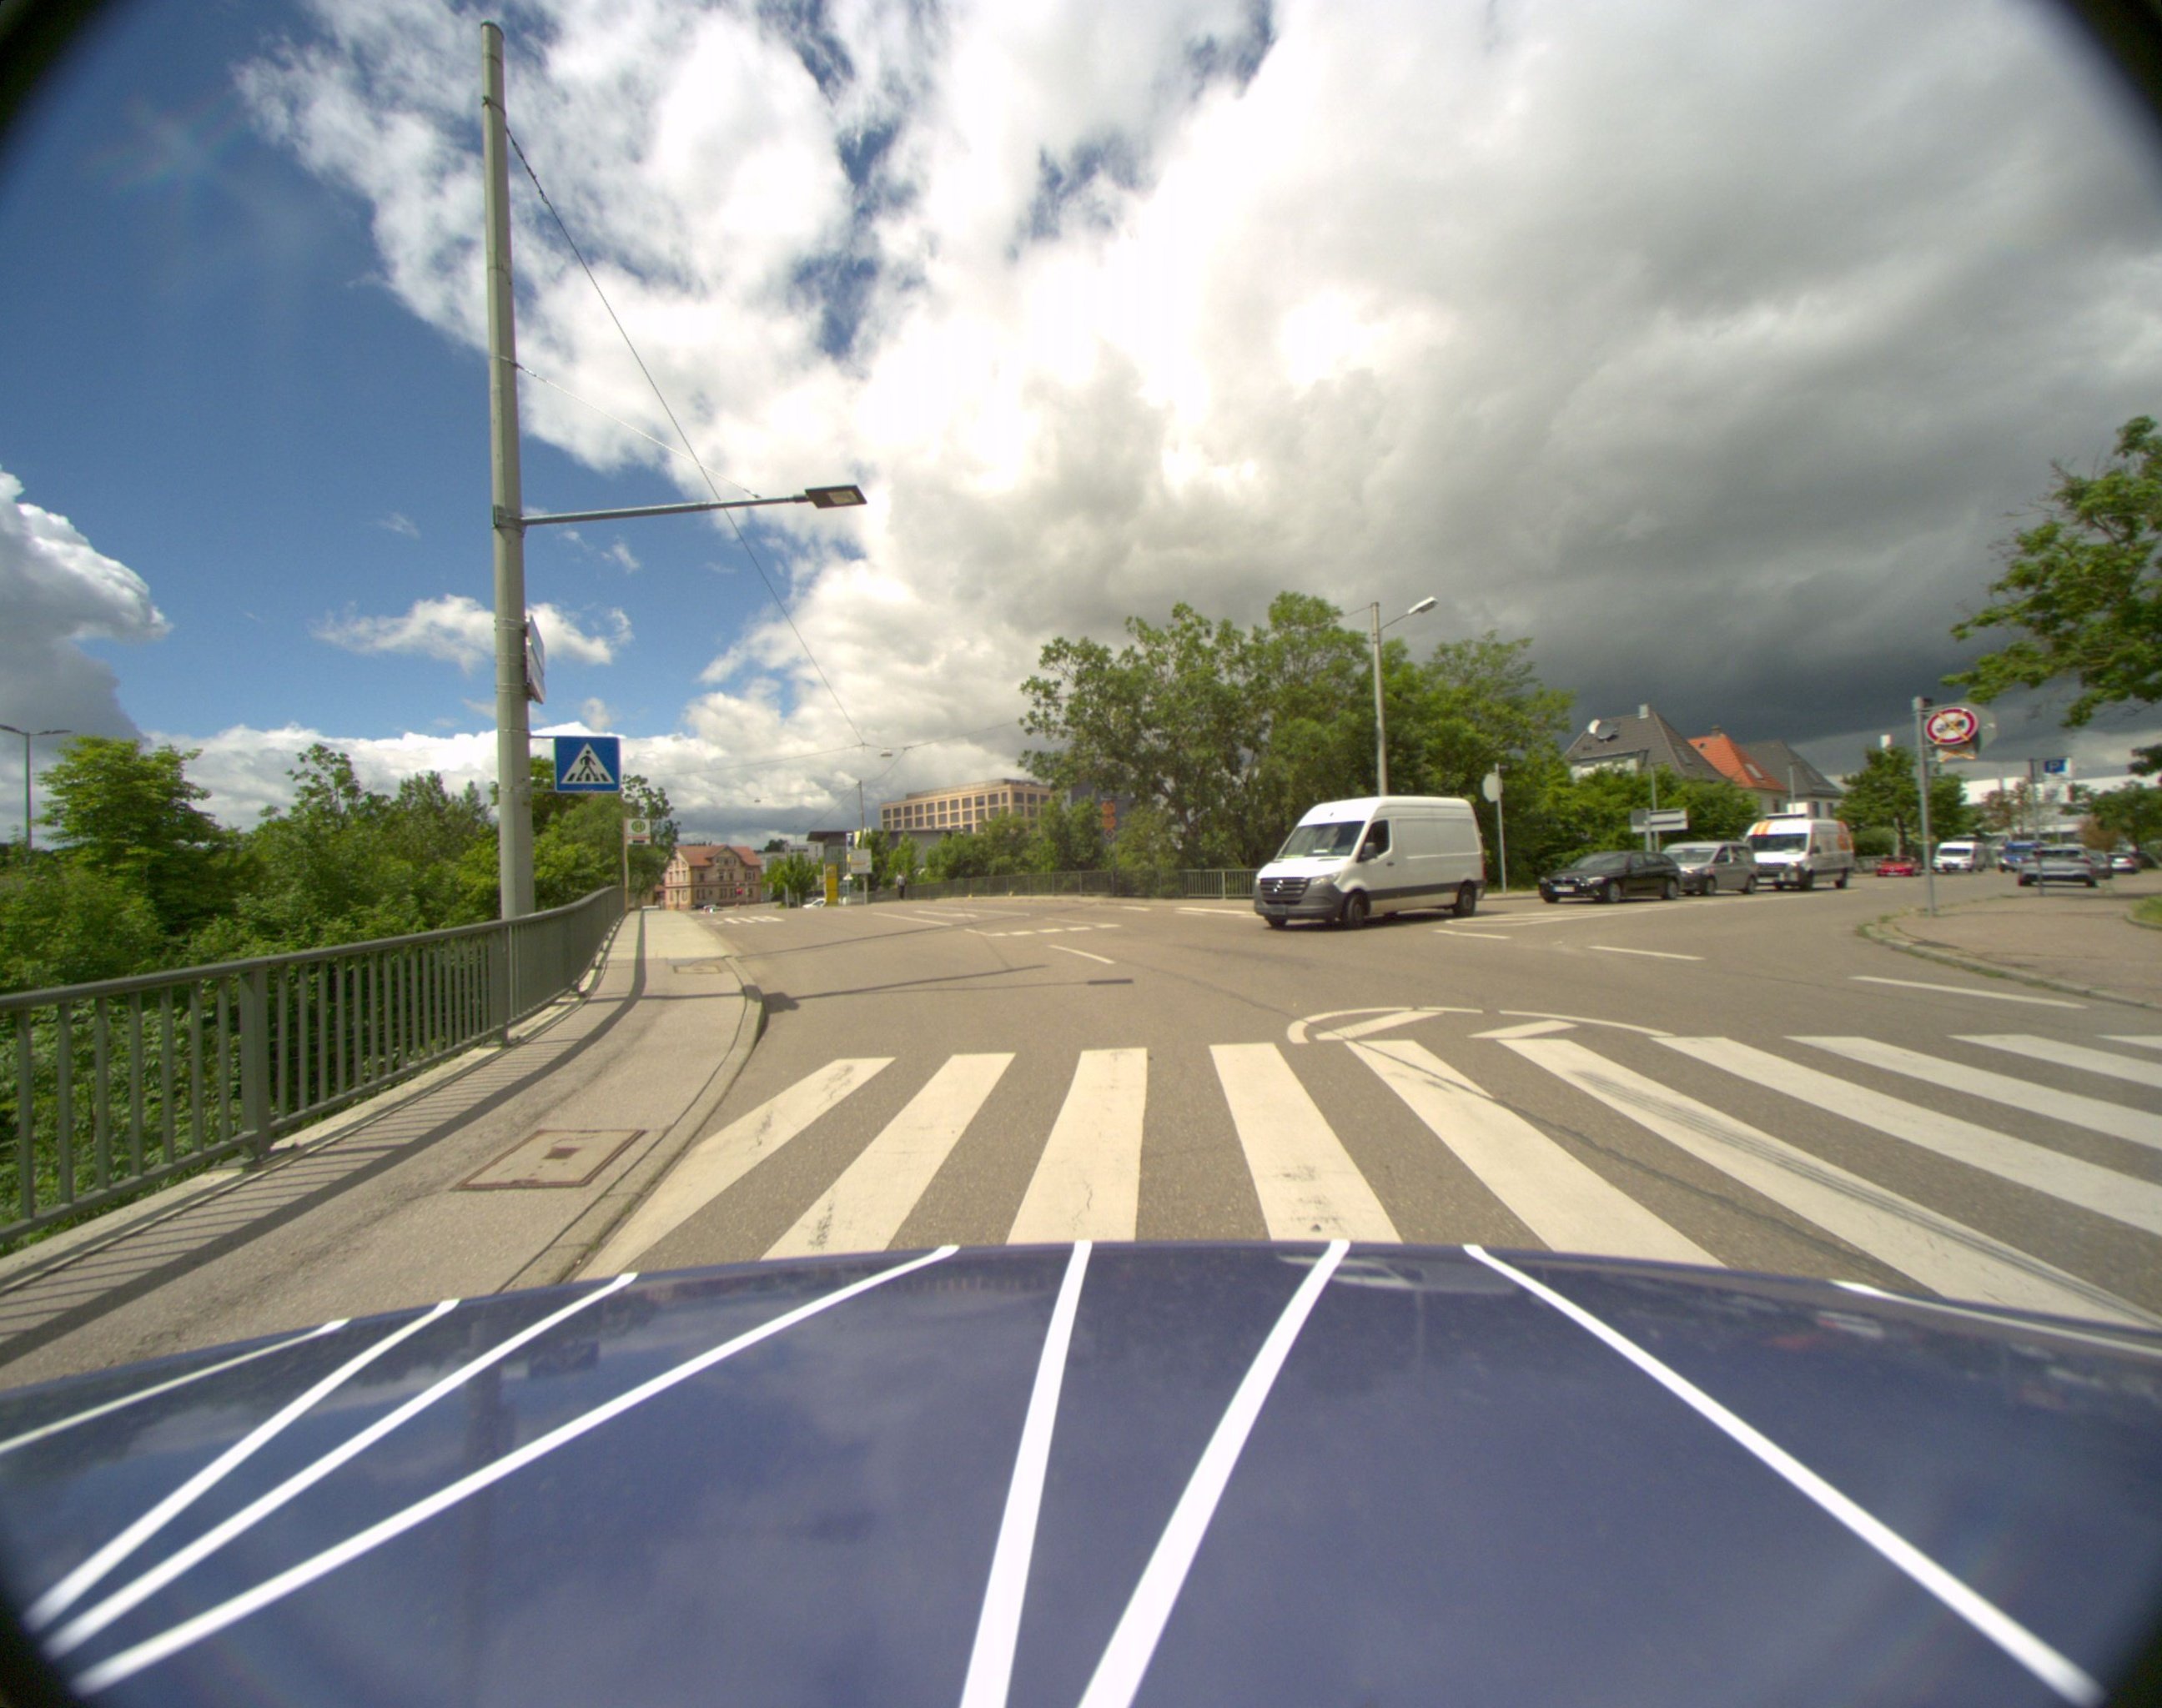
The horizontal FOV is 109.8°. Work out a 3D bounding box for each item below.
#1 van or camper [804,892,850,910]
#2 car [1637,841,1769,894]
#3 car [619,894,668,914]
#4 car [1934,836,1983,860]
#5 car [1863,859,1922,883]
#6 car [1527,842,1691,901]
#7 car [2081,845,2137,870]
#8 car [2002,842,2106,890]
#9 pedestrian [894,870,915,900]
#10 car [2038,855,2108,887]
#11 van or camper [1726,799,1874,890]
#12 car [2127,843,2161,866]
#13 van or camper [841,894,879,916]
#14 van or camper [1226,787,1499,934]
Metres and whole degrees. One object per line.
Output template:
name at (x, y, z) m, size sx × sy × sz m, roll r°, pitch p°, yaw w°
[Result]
van or camper at (-28.317, 5.225, 84.630) m, size 4.689 × 1.739 × 1.997 m, roll -1°, pitch -3°, yaw -24°
car at (20.049, 0.433, 24.455) m, size 4.409 × 1.578 × 1.996 m, roll 0°, pitch -2°, yaw -33°
car at (-56.298, 6.452, 97.797) m, size 4.998 × 1.981 × 1.995 m, roll -5°, pitch 0°, yaw -45°
car at (73.125, -0.492, 63.300) m, size 4.409 × 1.917 × 1.995 m, roll 0°, pitch -2°, yaw -33°
car at (56.510, 1.151, 52.893) m, size 4.409 × 1.578 × 1.996 m, roll 0°, pitch -2°, yaw -33°
car at (14.619, 0.471, 21.029) m, size 4.236 × 1.465 × 1.996 m, roll 0°, pitch -2°, yaw -28°
car at (71.457, 0.227, 52.787) m, size 4.409 × 1.578 × 1.996 m, roll -2°, pitch -1°, yaw -33°
car at (40.430, 0.474, 31.557) m, size 4.409 × 1.796 × 2.227 m, roll -2°, pitch -1°, yaw -33°
pedestrian at (-11.284, 1.980, 48.623) m, size 1.000 × 1.825 × 1.035 m, roll -3°, pitch -3°, yaw -27°
car at (55.636, 0.963, 42.605) m, size 4.409 × 1.578 × 1.996 m, roll -2°, pitch -1°, yaw -33°
van or camper at (27.180, -0.160, 28.599) m, size 8.343 × 2.976 × 2.266 m, roll 2°, pitch -4°, yaw -34°
car at (80.723, 0.025, 57.234) m, size 4.409 × 1.578 × 1.996 m, roll -2°, pitch -1°, yaw -33°
van or camper at (-22.534, 5.213, 77.627) m, size 1.988 × 1.951 × 4.962 m, roll -4°, pitch -2°, yaw 4°
van or camper at (5.964, 0.115, 15.748) m, size 5.939 × 2.551 × 2.188 m, roll 0°, pitch 0°, yaw -33°
